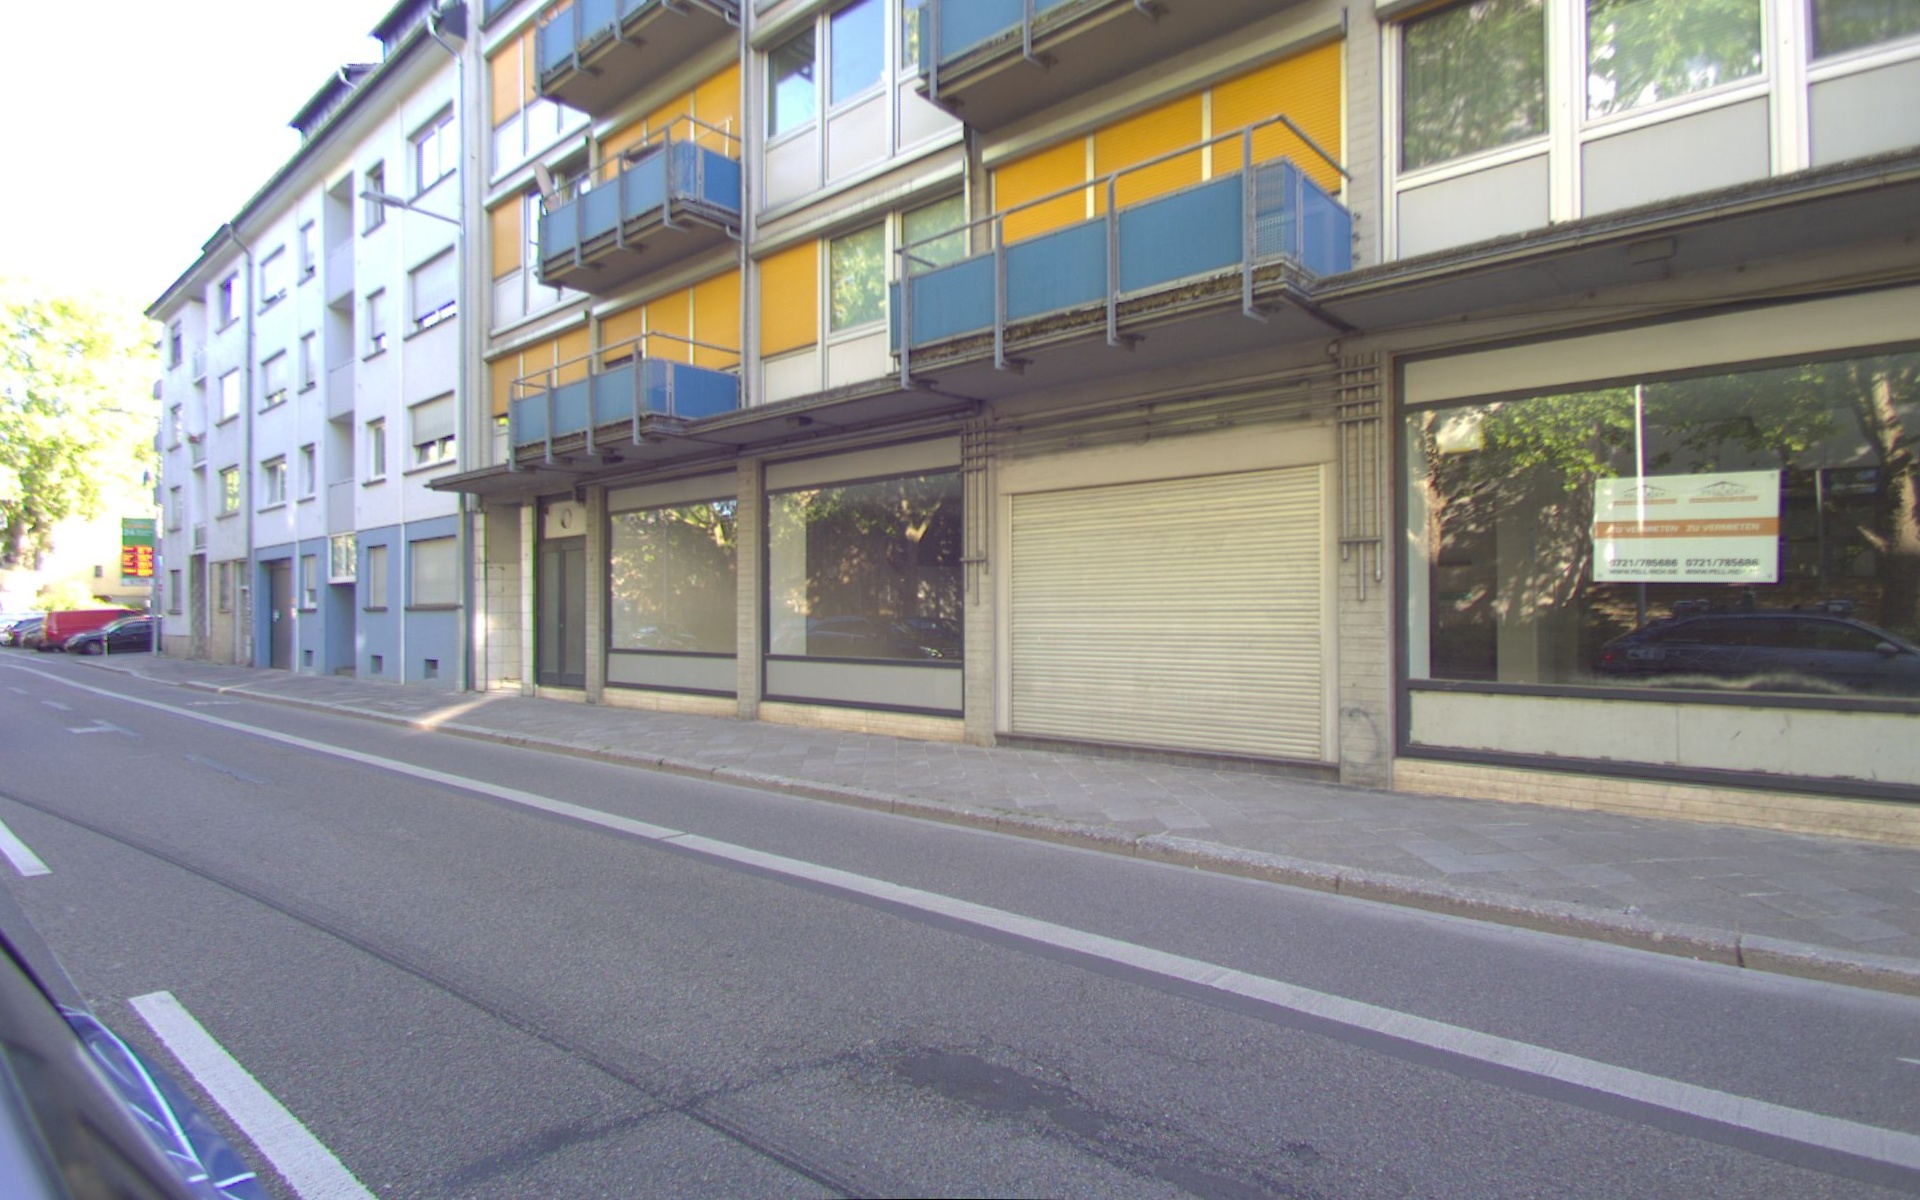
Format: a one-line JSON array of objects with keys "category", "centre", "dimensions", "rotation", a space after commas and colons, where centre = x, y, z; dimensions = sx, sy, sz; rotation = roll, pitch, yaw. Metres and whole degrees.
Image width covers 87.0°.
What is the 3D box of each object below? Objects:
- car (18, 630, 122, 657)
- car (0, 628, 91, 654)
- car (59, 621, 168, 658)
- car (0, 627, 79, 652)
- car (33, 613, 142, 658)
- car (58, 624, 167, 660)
[{"category": "car", "centre": [-42.812, 2.060, 48.736], "dimensions": [1.345, 1.137, 3.638], "rotation": [-1, 0, 43]}, {"category": "car", "centre": [-50.443, 2.227, 55.873], "dimensions": [1.345, 1.254, 3.638], "rotation": [-1, 0, 43]}, {"category": "car", "centre": [-38.190, 1.755, 45.722], "dimensions": [1.490, 1.523, 3.638], "rotation": [-1, 0, 43]}, {"category": "car", "centre": [-52.257, 2.234, 57.503], "dimensions": [1.345, 1.254, 3.228], "rotation": [-1, 0, 43]}, {"category": "car", "centre": [-40.649, 1.634, 47.222], "dimensions": [1.488, 1.923, 3.642], "rotation": [-4, -2, 39]}, {"category": "car", "centre": [-36.673, 1.797, 43.842], "dimensions": [1.490, 1.398, 3.462], "rotation": [-1, 0, 43]}]
